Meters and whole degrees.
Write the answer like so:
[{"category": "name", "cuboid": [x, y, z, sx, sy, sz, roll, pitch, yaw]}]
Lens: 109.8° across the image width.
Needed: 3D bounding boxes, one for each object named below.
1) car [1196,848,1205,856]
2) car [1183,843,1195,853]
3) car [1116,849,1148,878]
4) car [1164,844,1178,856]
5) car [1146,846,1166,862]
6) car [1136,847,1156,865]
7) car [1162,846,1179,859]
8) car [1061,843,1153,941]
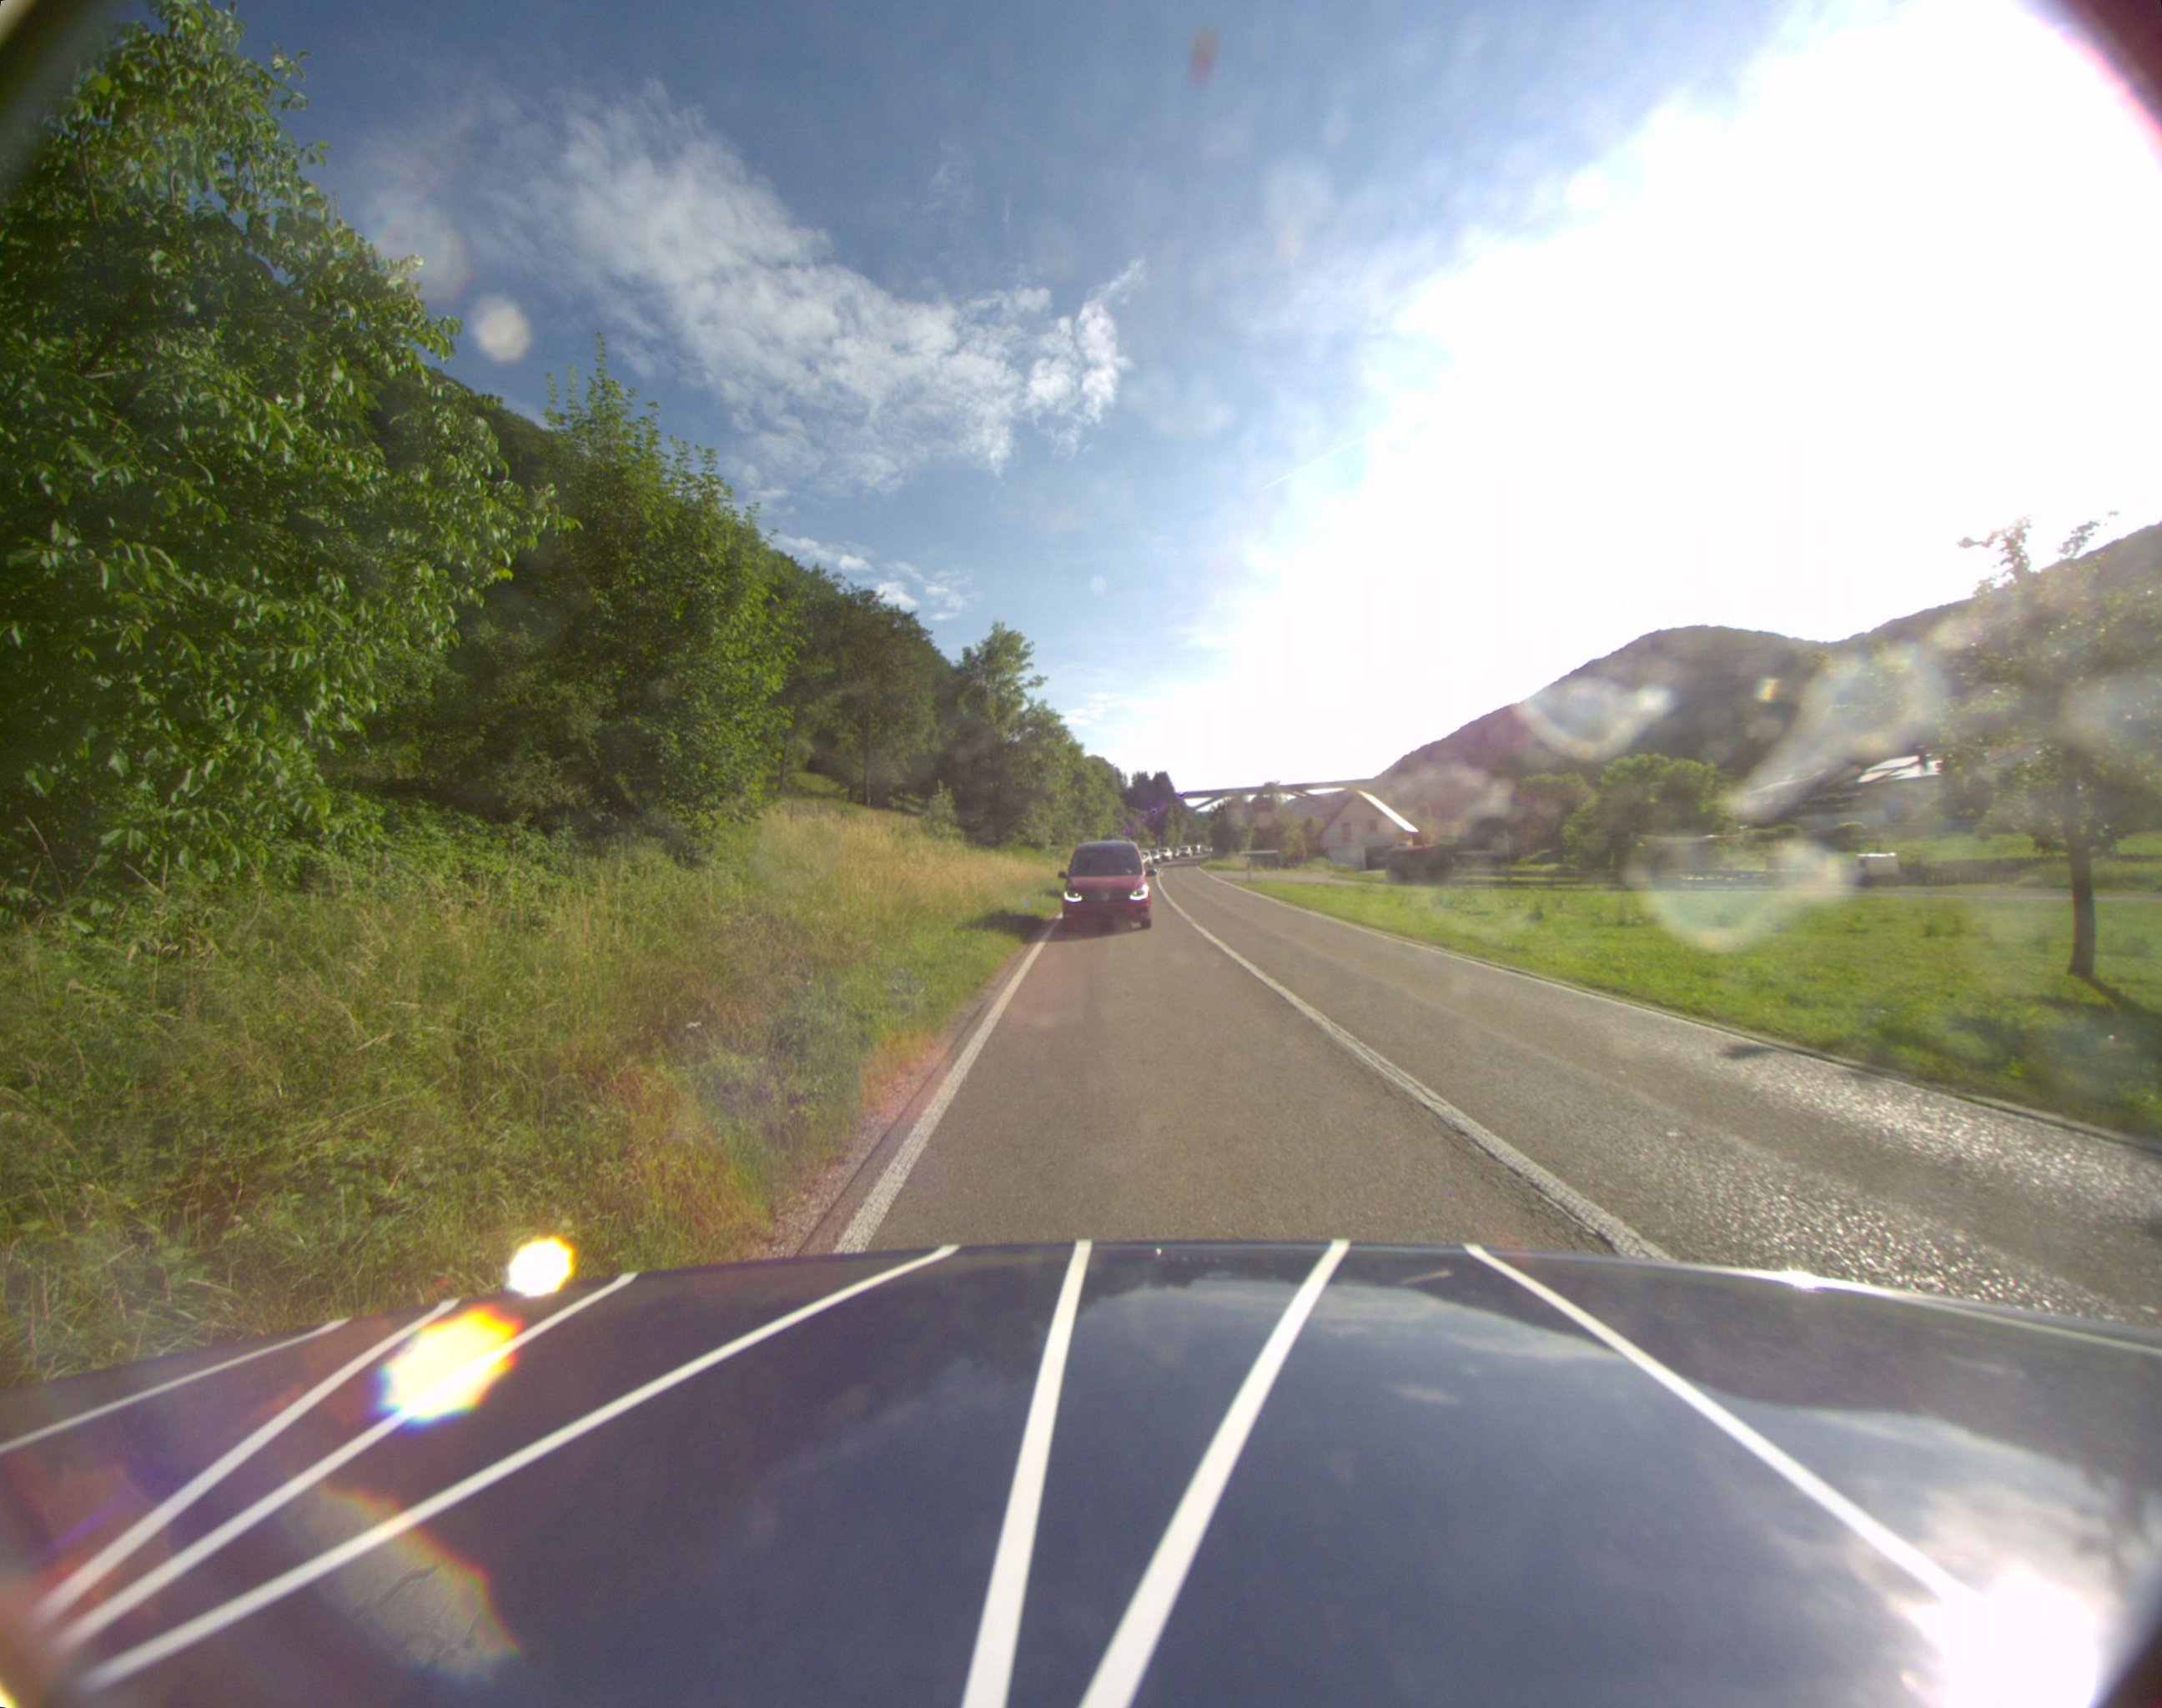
[{"category": "car", "cuboid": [23.280, -0.329, 148.064, 1.629, 1.470, 3.681, -2, 1, 9]}, {"category": "car", "cuboid": [16.879, -0.902, 118.538, 1.629, 1.470, 3.680, -2, 1, 4]}, {"category": "car", "cuboid": [2.928, 0.503, 42.833, 1.629, 1.470, 3.680, -2, 1, 5]}, {"category": "car", "cuboid": [12.210, -0.536, 102.915, 1.629, 1.470, 3.681, -2, 1, 9]}, {"category": "car", "cuboid": [7.318, -0.025, 74.597, 1.630, 1.470, 3.679, -2, 1, 2]}, {"category": "car", "cuboid": [5.610, 0.153, 65.386, 1.629, 1.470, 3.680, -2, 1, 5]}, {"category": "car", "cuboid": [10.330, -0.171, 88.150, 1.630, 1.470, 3.679, -2, 1, 2]}, {"category": "car", "cuboid": [0.535, 0.675, 16.024, 1.649, 1.762, 4.000, -2, 1, 2]}]
